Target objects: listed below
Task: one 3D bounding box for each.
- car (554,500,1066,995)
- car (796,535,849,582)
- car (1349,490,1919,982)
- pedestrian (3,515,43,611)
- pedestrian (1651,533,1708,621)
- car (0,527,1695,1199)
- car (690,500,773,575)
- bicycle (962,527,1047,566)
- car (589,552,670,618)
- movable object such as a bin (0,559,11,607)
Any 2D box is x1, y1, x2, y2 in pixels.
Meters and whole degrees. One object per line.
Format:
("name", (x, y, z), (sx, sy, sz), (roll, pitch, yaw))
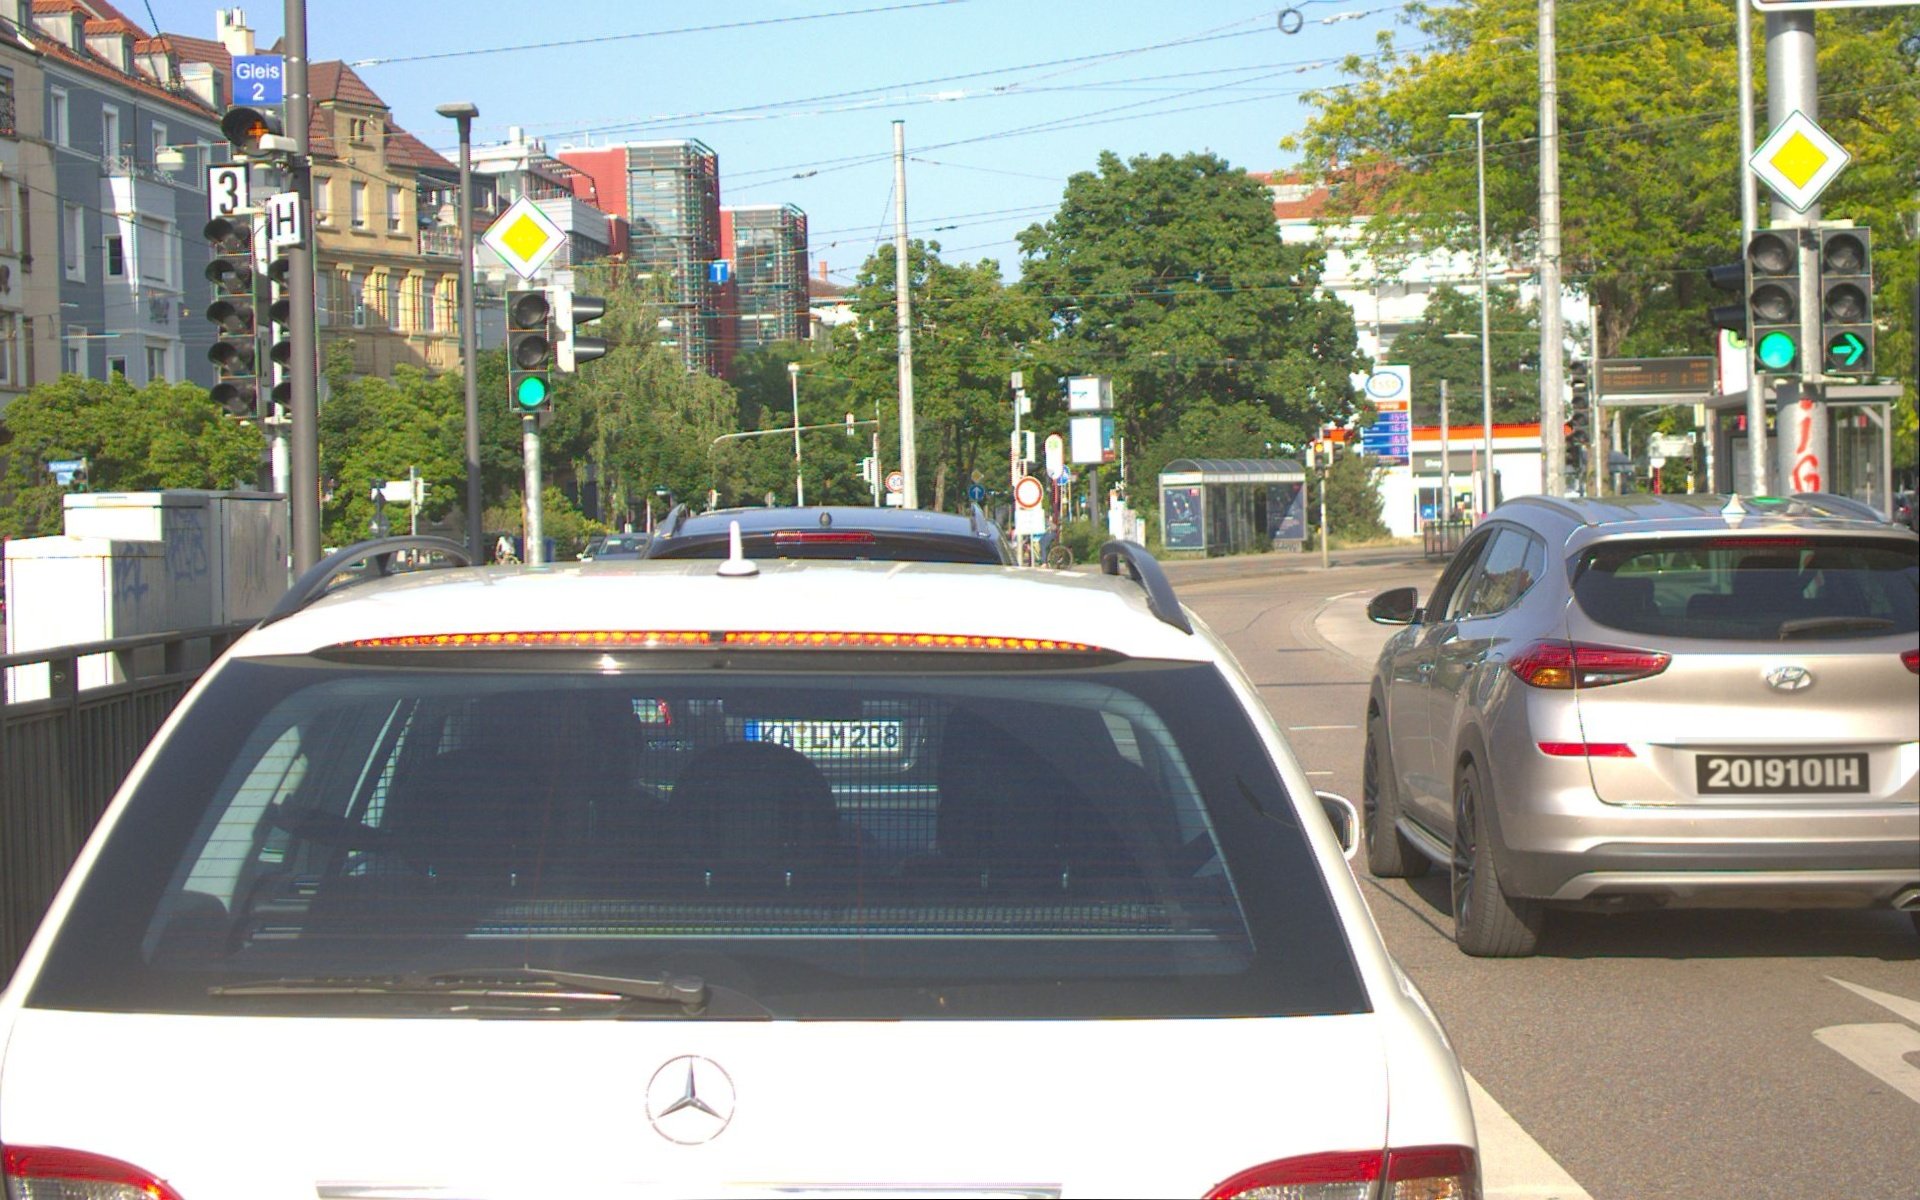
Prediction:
("car", (-0.504, 0.434, 12.961), (1.641, 1.594, 3.815), (0, 1, -1))
("car", (-5.023, -1.529, 126.093), (1.767, 1.489, 4.745), (-2, 3, -1))
("car", (2.633, 0.400, 13.038), (1.835, 1.594, 3.815), (0, 1, -1))
("pedestrian", (-18.785, -0.747, 68.943), (0.584, 1.874, 0.627), (-2, 2, -3))
("pedestrian", (16.582, -0.530, 79.205), (0.997, 2.007, 0.826), (-1, 1, 35))
("car", (-0.263, 0.644, 5.082), (1.835, 1.496, 3.815), (0, 1, -1))
("car", (-7.187, -2.000, 108.628), (2.177, 2.231, 5.253), (-2, 2, 0))
("bicycle", (1.167, -1.394, 89.682), (2.019, 0.943, 0.878), (-1, 1, 19))
("car", (-8.749, -0.416, 91.154), (1.676, 1.520, 4.125), (-2, 2, 0))
("movable object such as a bin", (-19.555, -0.341, 69.398), (0.583, 0.943, 0.663), (-2, 1, 2))
